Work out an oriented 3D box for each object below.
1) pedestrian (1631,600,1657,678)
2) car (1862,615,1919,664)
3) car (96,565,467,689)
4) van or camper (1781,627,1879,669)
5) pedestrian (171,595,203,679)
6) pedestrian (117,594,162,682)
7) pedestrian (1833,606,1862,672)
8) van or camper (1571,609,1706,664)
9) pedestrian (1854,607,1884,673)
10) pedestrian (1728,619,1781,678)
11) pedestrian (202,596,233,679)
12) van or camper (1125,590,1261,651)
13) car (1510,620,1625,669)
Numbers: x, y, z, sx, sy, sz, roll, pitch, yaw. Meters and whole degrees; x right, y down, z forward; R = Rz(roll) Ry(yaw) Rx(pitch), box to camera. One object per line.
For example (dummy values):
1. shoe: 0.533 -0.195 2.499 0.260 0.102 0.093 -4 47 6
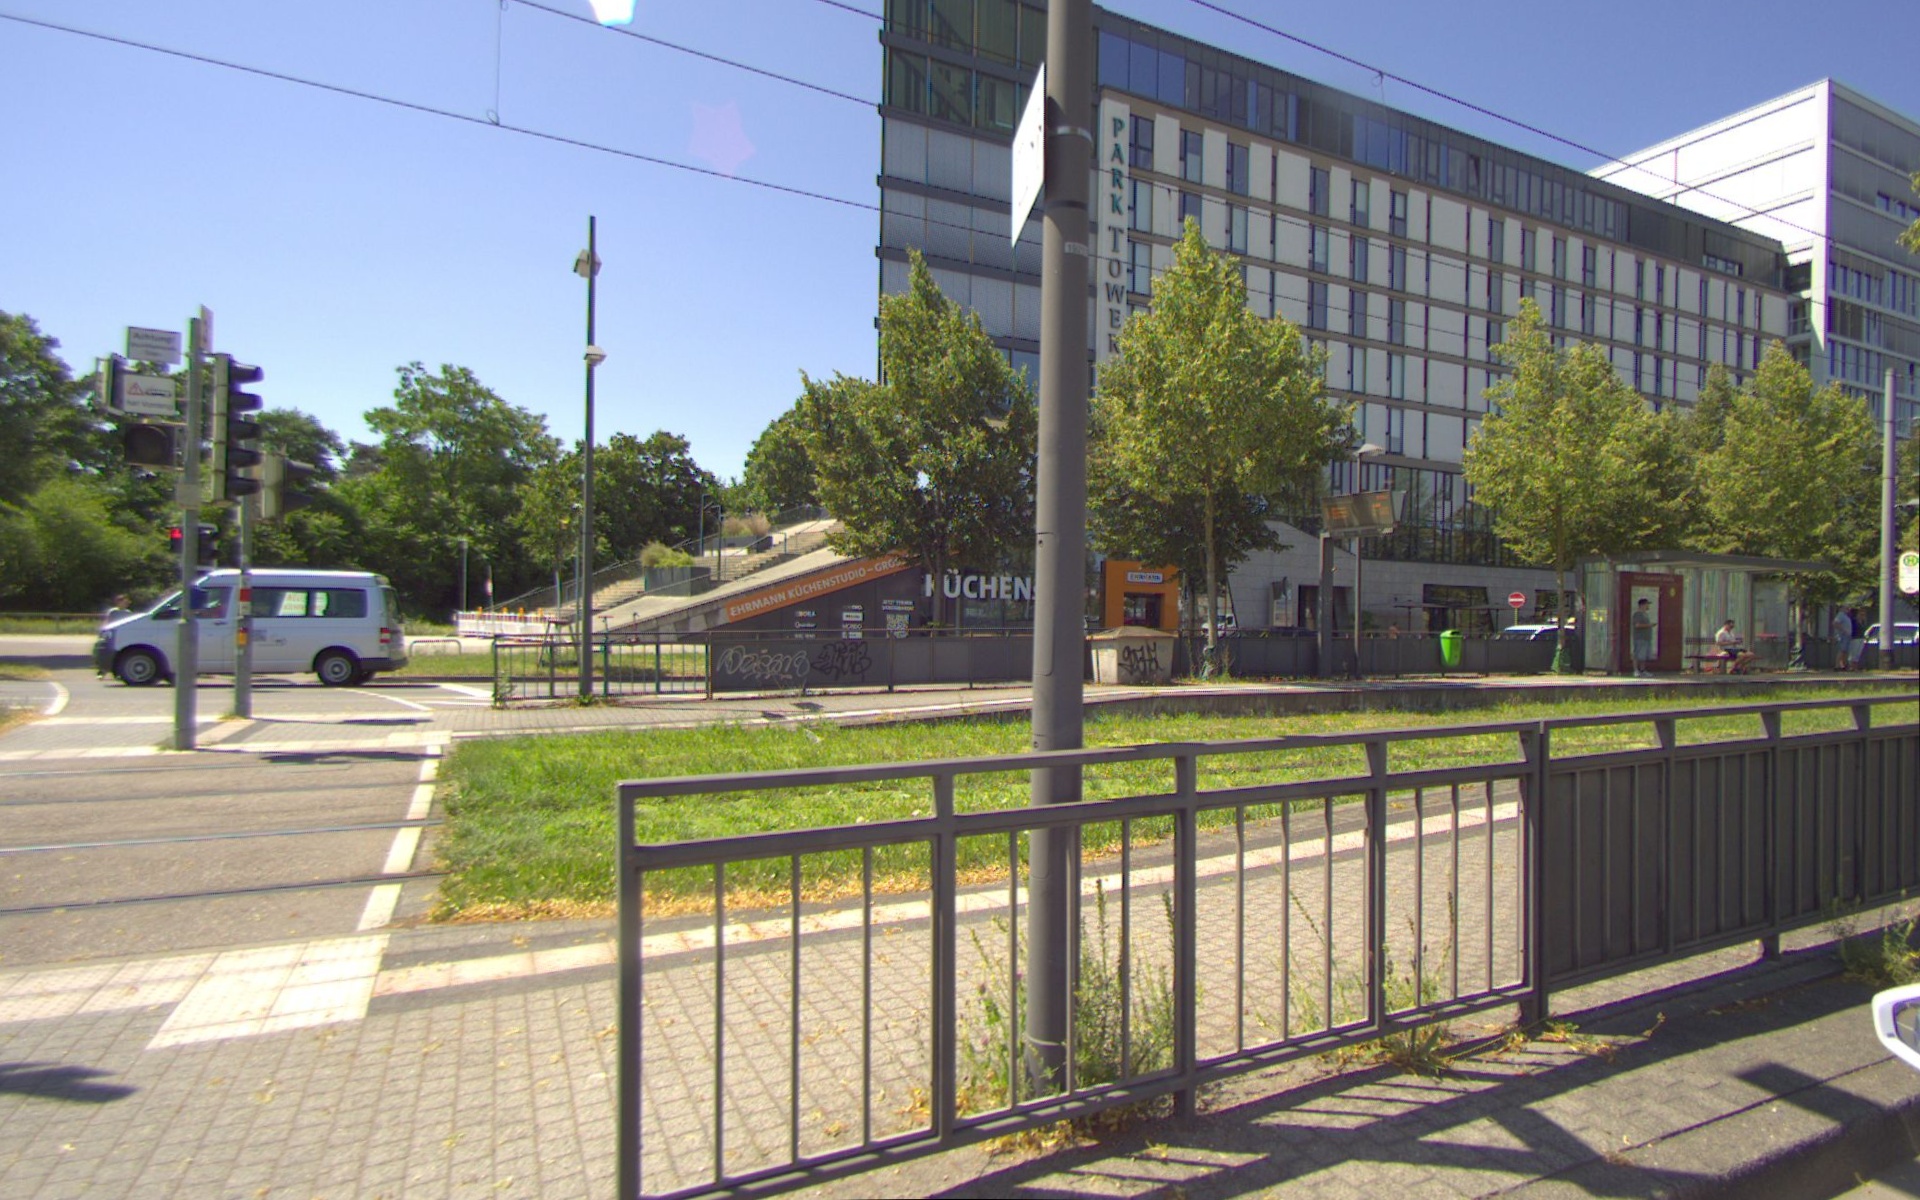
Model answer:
1. pedestrian: 15.606 0.887 22.909 0.459 1.762 0.477 1 -1 36
2. car: 38.561 1.590 39.857 5.004 1.830 2.454 2 -1 -26
3. car: -12.631 0.590 19.224 5.459 2.133 1.991 2 -3 -20
4. van or camper: 31.324 1.727 36.167 3.383 1.446 1.471 2 -1 -26
5. pedestrian: -16.368 0.778 21.274 0.443 1.762 0.289 2 -1 -27
6. pedestrian: -16.639 0.769 20.377 0.592 1.762 0.339 2 -1 -27
7. pedestrian: 24.022 1.061 27.192 0.579 1.775 0.407 2 -1 -29
8. van or camper: 31.633 1.695 46.757 6.682 2.418 2.170 2 -1 -26
9. pedestrian: 24.708 1.095 27.303 0.579 1.775 0.407 2 -1 -29
10. pedestrian: 19.937 1.202 25.220 0.634 1.432 0.831 2 -1 -26
11. pedestrian: -15.931 0.803 21.567 0.443 1.762 0.289 2 -1 -27
12. van or camper: 11.691 1.052 50.206 6.703 2.859 2.365 2 -1 -29
13. car: 21.325 1.556 35.265 3.909 1.637 1.566 2 -1 -26
